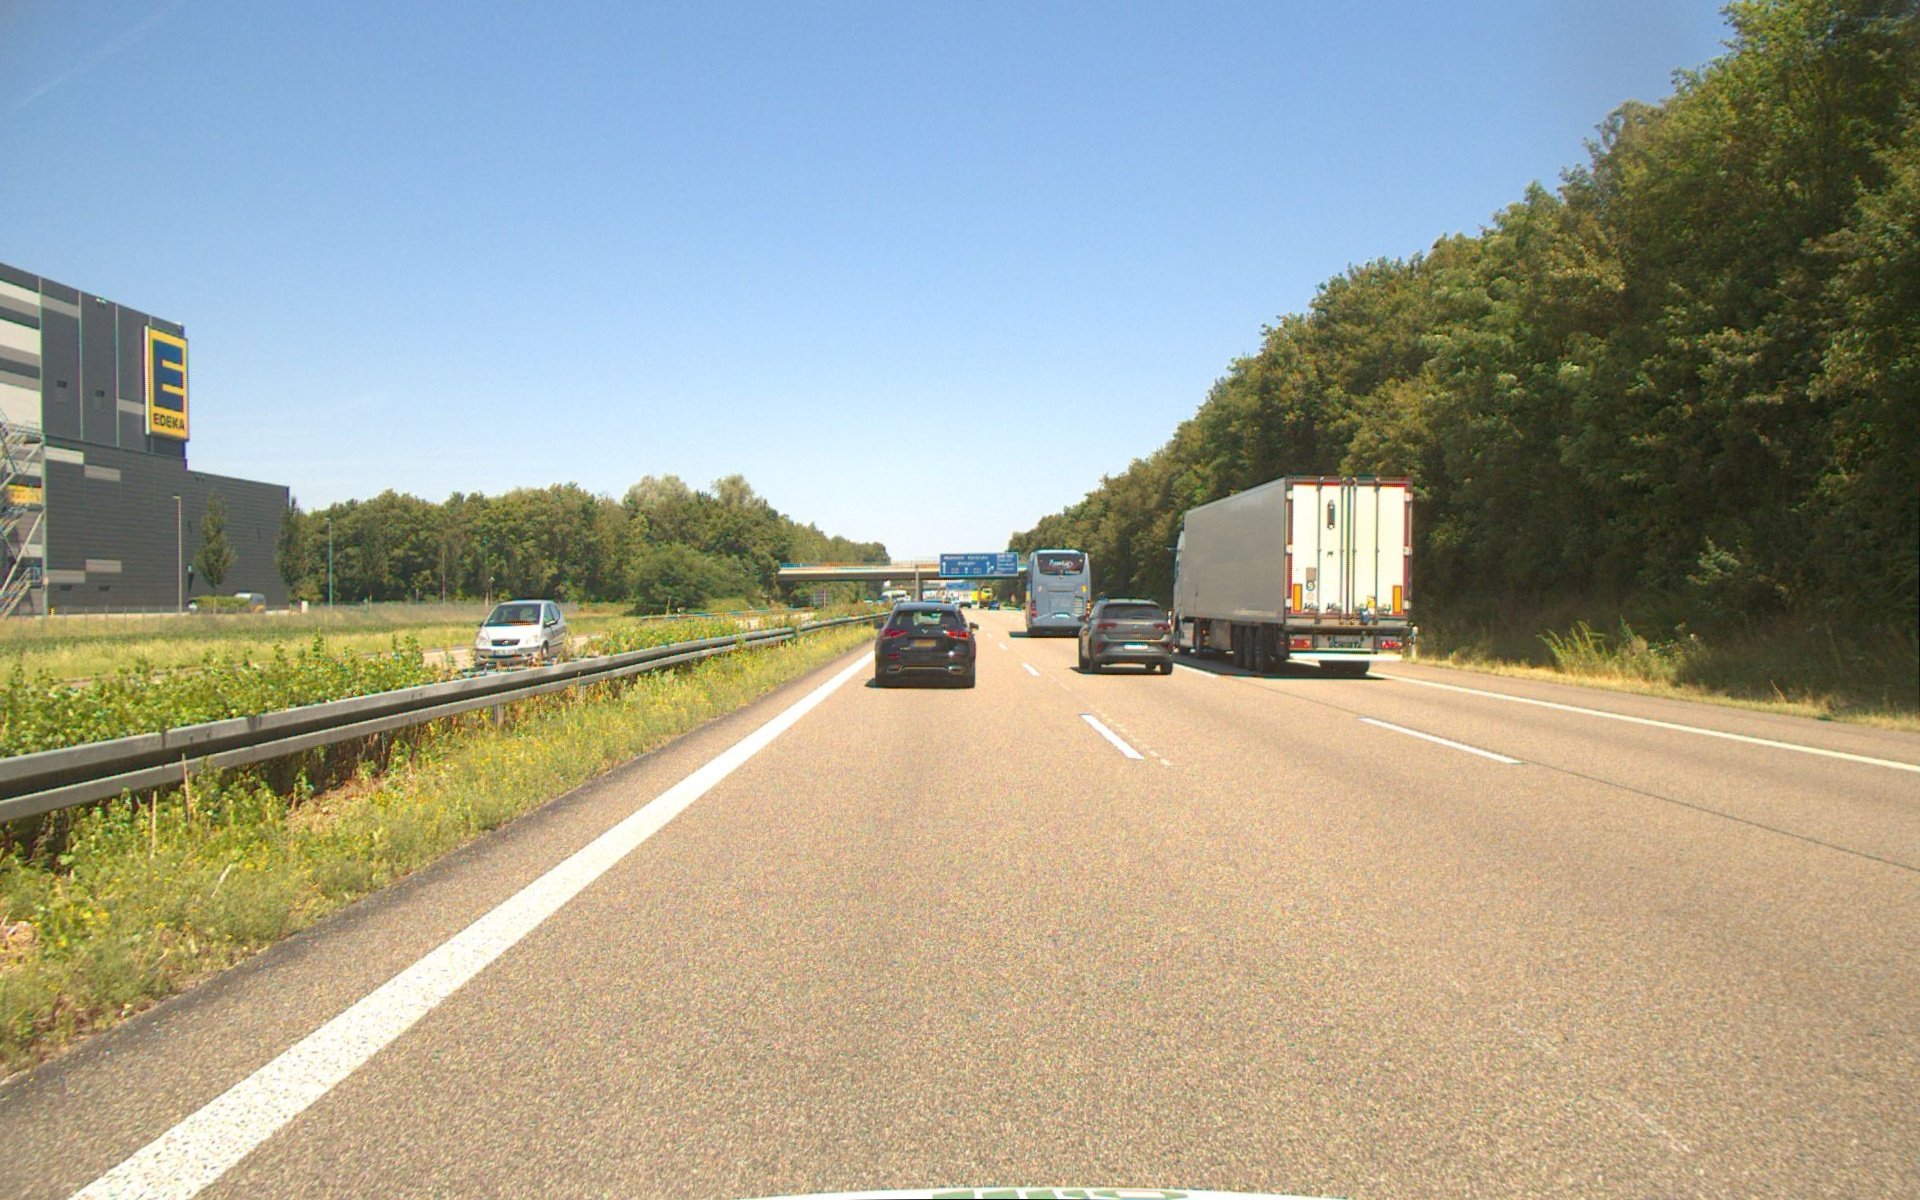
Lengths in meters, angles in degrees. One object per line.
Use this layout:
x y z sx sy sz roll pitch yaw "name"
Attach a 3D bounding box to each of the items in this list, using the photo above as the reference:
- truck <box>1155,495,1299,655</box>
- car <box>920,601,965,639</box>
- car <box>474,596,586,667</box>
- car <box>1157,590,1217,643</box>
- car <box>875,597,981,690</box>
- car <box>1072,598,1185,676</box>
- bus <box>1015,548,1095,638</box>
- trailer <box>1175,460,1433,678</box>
7.551 -0.673 47.564 2.986 4.289 6.047 1 0 -2 "truck"
-0.791 0.834 71.738 1.861 1.559 4.240 0 0 -2 "car"
-10.580 0.740 41.007 1.623 1.610 4.334 -2 0 -1 "car"
9.549 0.654 69.880 1.861 2.157 4.240 0 0 -2 "car"
-0.588 0.720 29.675 1.763 1.528 4.240 0 0 -2 "car"
3.593 0.759 36.070 1.861 1.559 4.758 0 0 -2 "car"
4.098 -0.281 73.764 2.745 3.659 12.472 0 0 0 "bus"
7.744 -0.632 39.776 2.978 4.298 13.831 1 0 -1 "trailer"
